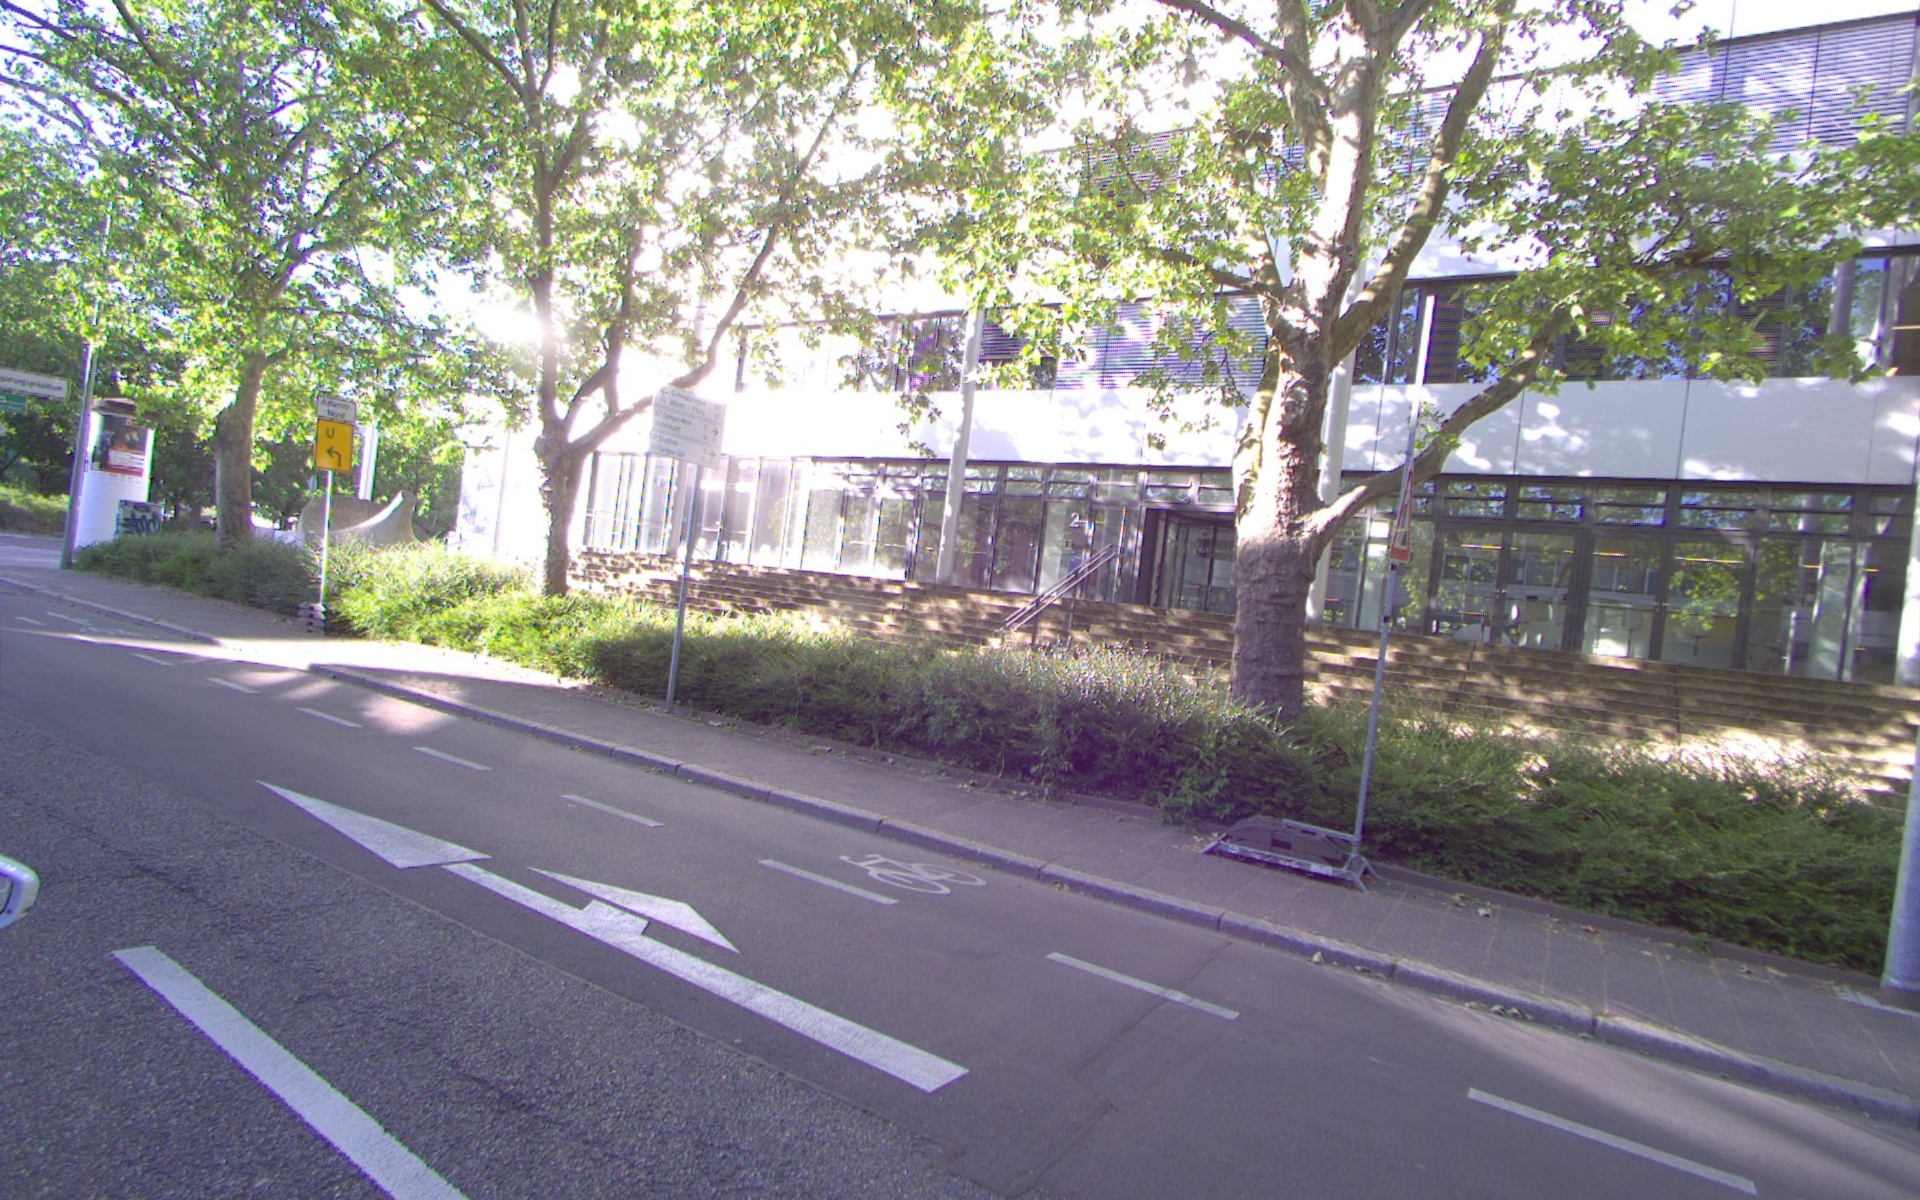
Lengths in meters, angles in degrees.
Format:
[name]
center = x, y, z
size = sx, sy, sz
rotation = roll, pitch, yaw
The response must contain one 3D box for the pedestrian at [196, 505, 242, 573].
[pedestrian]
center = -21.095, -1.726, 28.650
size = 0.719, 1.799, 0.735
rotation = 6, -1, 40
